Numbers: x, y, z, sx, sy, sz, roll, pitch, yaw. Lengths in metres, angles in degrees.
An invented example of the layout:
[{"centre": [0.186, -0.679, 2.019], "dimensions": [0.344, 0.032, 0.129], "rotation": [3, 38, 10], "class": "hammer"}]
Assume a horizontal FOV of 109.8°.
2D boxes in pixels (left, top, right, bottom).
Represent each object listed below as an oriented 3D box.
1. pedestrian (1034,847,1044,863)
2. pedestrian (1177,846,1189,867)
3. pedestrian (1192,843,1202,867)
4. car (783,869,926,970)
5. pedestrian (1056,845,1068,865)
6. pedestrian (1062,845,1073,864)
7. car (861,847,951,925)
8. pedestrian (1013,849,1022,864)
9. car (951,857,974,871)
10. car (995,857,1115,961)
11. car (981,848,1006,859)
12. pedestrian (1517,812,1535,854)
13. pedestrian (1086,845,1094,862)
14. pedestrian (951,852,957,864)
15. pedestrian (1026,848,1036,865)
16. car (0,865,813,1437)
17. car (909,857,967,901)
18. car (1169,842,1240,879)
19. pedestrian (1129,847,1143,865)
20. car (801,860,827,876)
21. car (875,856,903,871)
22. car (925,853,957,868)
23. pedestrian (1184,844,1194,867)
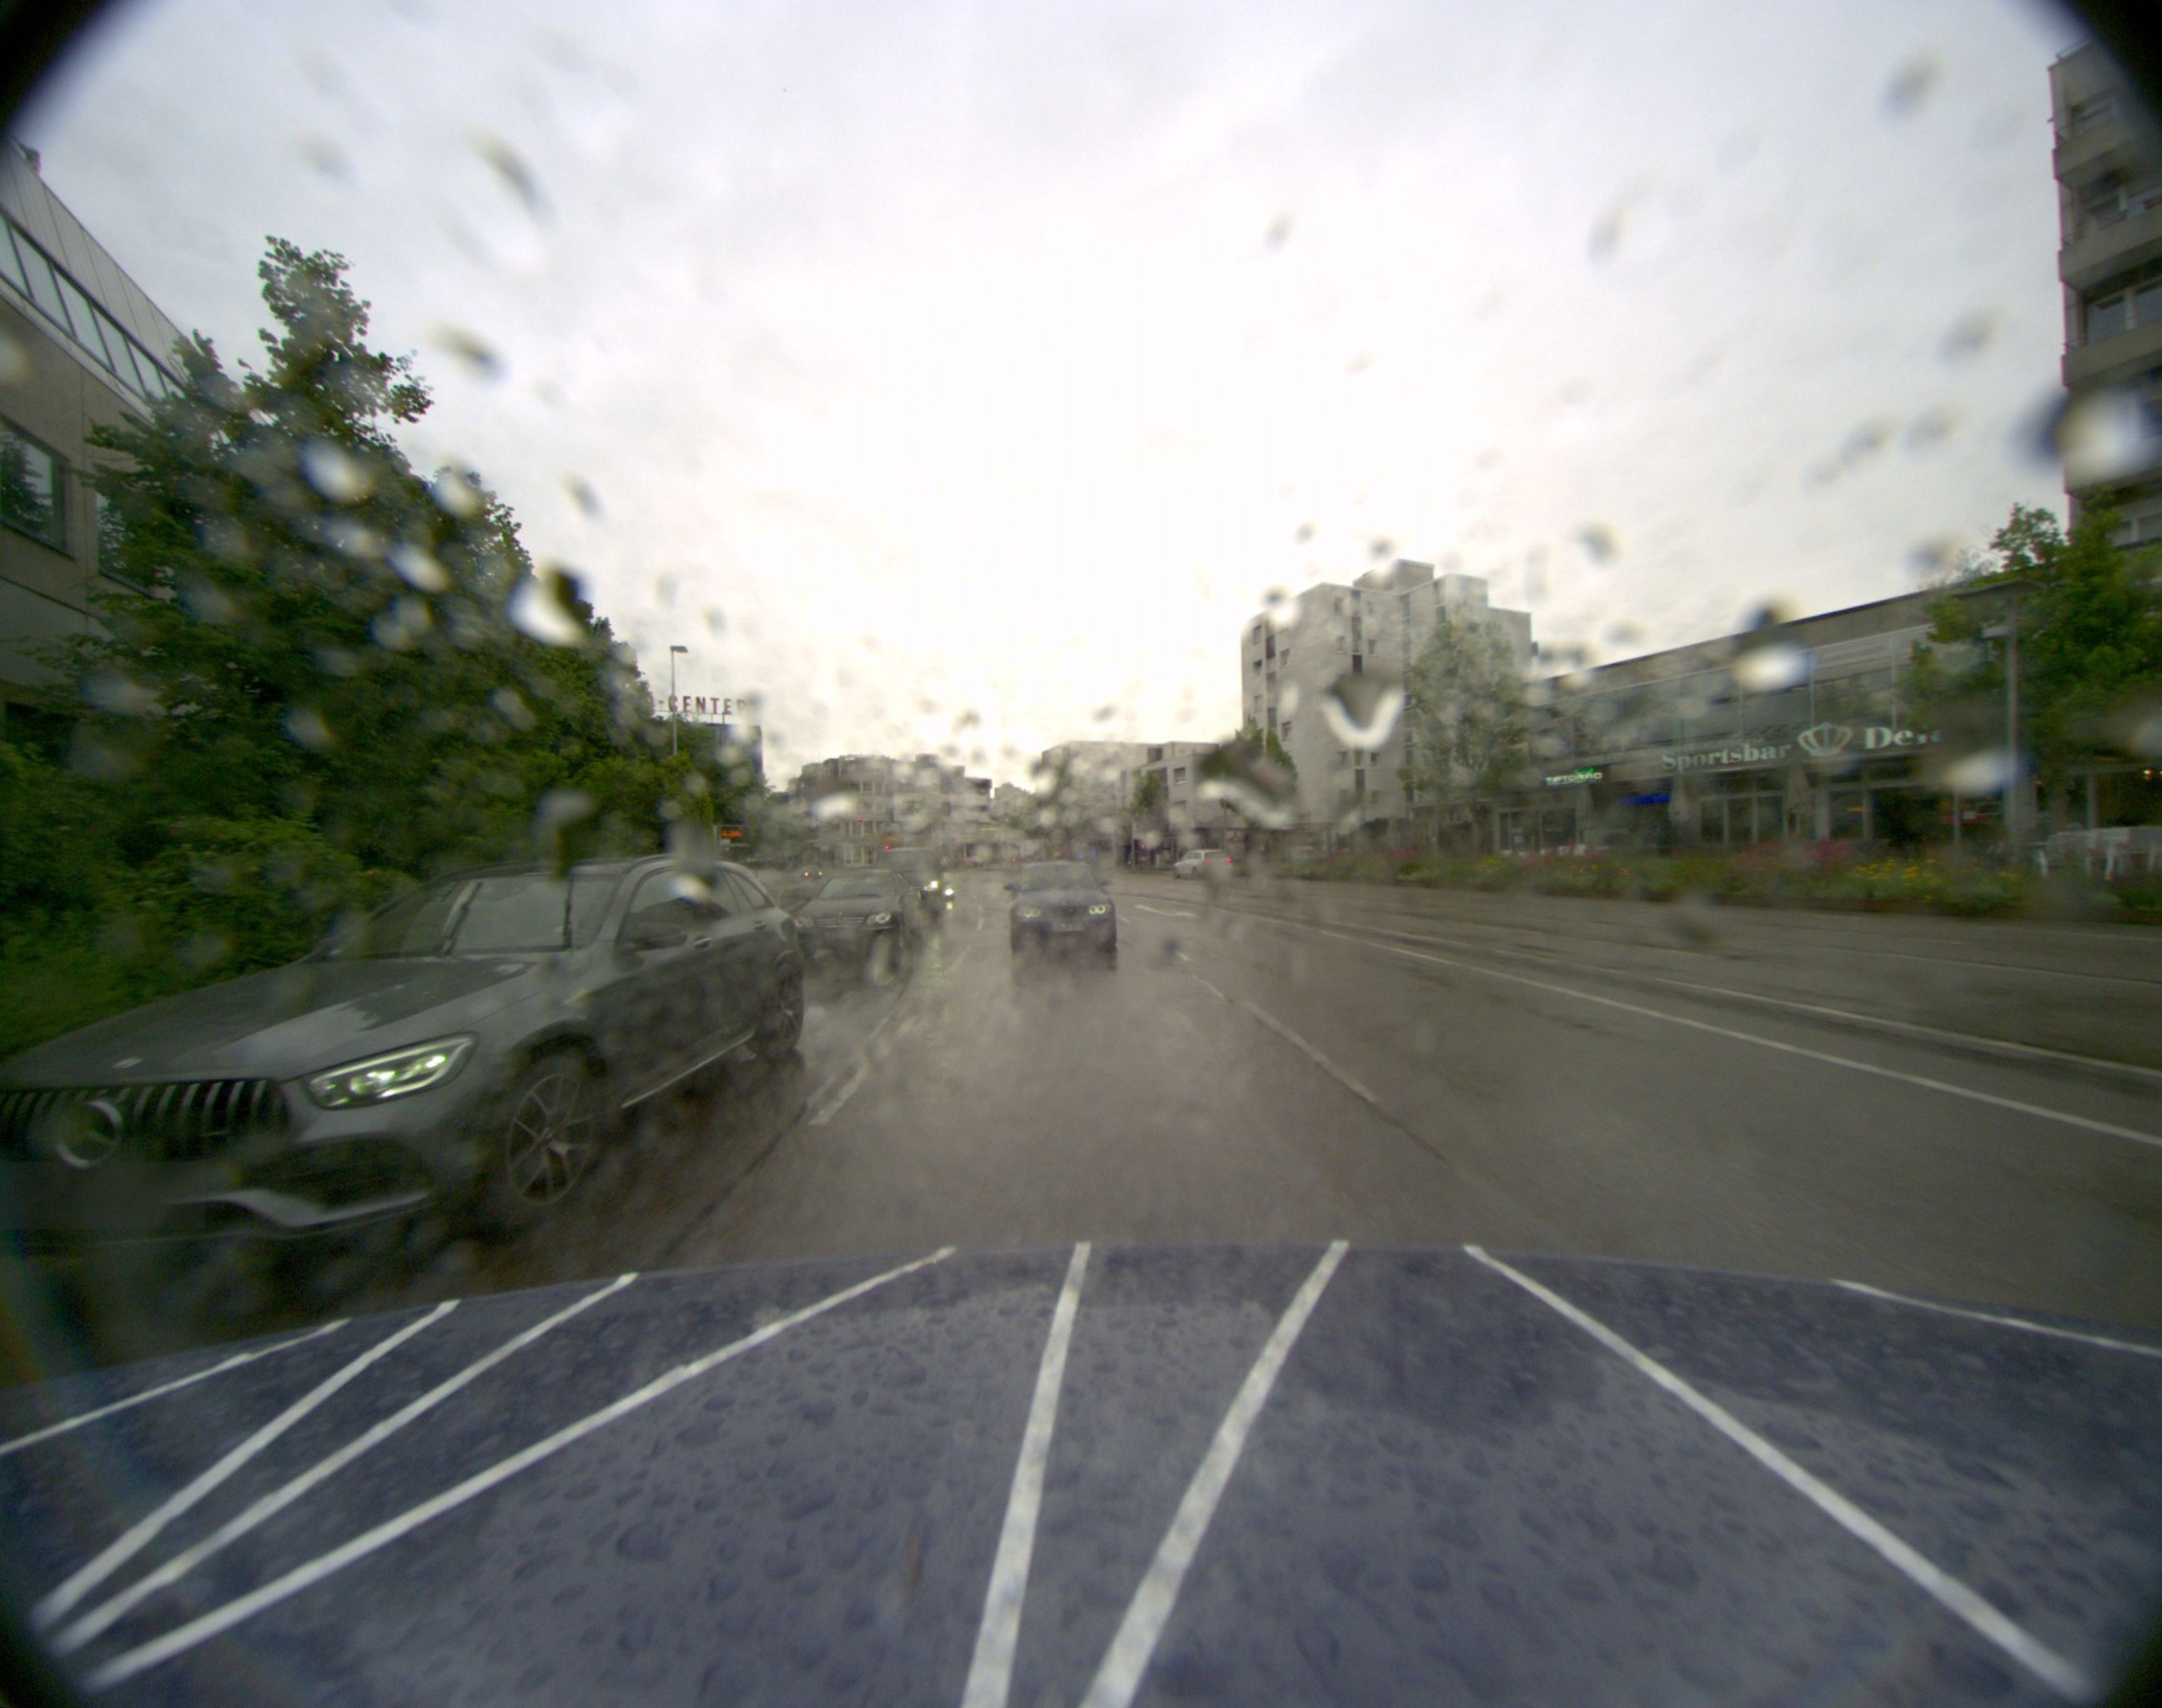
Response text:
[{"centre": [-4.931, 0.115, 88.917], "dimensions": [0.907, 1.904, 0.976], "rotation": [-2, 1, -24], "class": "pedestrian"}, {"centre": [7.512, 0.177, 55.872], "dimensions": [0.613, 1.496, 0.538], "rotation": [-1, 1, 44], "class": "pedestrian"}, {"centre": [8.246, 0.055, 54.060], "dimensions": [0.537, 1.650, 0.479], "rotation": [-2, 1, -17], "class": "pedestrian"}, {"centre": [-3.947, 1.047, 14.007], "dimensions": [1.636, 1.378, 4.512], "rotation": [-2, 1, -6], "class": "car"}, {"centre": [-2.010, 0.114, 81.135], "dimensions": [0.907, 2.002, 0.976], "rotation": [-2, 1, -24], "class": "pedestrian"}, {"centre": [-1.448, 0.062, 81.533], "dimensions": [0.907, 2.002, 0.976], "rotation": [-2, 1, -24], "class": "pedestrian"}, {"centre": [-4.823, 0.779, 21.543], "dimensions": [2.002, 1.883, 4.583], "rotation": [-2, 1, -8], "class": "car"}, {"centre": [-8.520, 0.300, 101.894], "dimensions": [0.762, 2.002, 0.862], "rotation": [-2, 1, -24], "class": "pedestrian"}, {"centre": [-12.910, 1.047, 82.553], "dimensions": [1.764, 1.418, 3.994], "rotation": [-2, 0, -18], "class": "car"}, {"centre": [-0.317, 0.853, 13.551], "dimensions": [1.675, 1.534, 3.914], "rotation": [-2, 0, 4], "class": "car"}, {"centre": [-14.772, -0.115, 128.643], "dimensions": [3.903, 1.710, 1.742], "rotation": [-2, 1, -41], "class": "car"}, {"centre": [19.675, -0.927, 33.627], "dimensions": [0.427, 1.837, 0.500], "rotation": [-2, 1, -12], "class": "pedestrian"}, {"centre": [0.937, -0.065, 80.765], "dimensions": [0.550, 1.740, 0.679], "rotation": [-2, 1, -21], "class": "pedestrian"}, {"centre": [-18.382, 0.571, 109.806], "dimensions": [0.683, 1.733, 0.585], "rotation": [-2, 2, 3], "class": "pedestrian"}, {"centre": [-5.854, 0.273, 88.793], "dimensions": [0.906, 1.904, 0.976], "rotation": [-2, 1, -16], "class": "pedestrian"}, {"centre": [-3.247, 0.954, 4.480], "dimensions": [1.906, 1.611, 4.334], "rotation": [-2, 1, -3], "class": "car"}, {"centre": [-5.637, 0.942, 30.393], "dimensions": [1.762, 1.540, 4.324], "rotation": [-3, 0, -5], "class": "car"}, {"centre": [6.260, 0.308, 39.031], "dimensions": [1.892, 1.673, 4.499], "rotation": [-3, 1, -14], "class": "car"}, {"centre": [4.910, 0.186, 68.132], "dimensions": [1.011, 1.636, 0.725], "rotation": [-3, 1, -23], "class": "pedestrian"}, {"centre": [-26.822, 1.387, 76.297], "dimensions": [1.740, 1.587, 3.991], "rotation": [-2, 1, -28], "class": "car"}, {"centre": [-19.906, 0.954, 78.690], "dimensions": [1.765, 1.443, 3.991], "rotation": [-2, 0, -29], "class": "car"}, {"centre": [-14.385, 0.663, 77.895], "dimensions": [1.850, 1.452, 4.798], "rotation": [-3, 1, -28], "class": "car"}, {"centre": [7.643, 0.116, 53.753], "dimensions": [0.480, 1.650, 0.535], "rotation": [-2, 1, -22], "class": "pedestrian"}]
